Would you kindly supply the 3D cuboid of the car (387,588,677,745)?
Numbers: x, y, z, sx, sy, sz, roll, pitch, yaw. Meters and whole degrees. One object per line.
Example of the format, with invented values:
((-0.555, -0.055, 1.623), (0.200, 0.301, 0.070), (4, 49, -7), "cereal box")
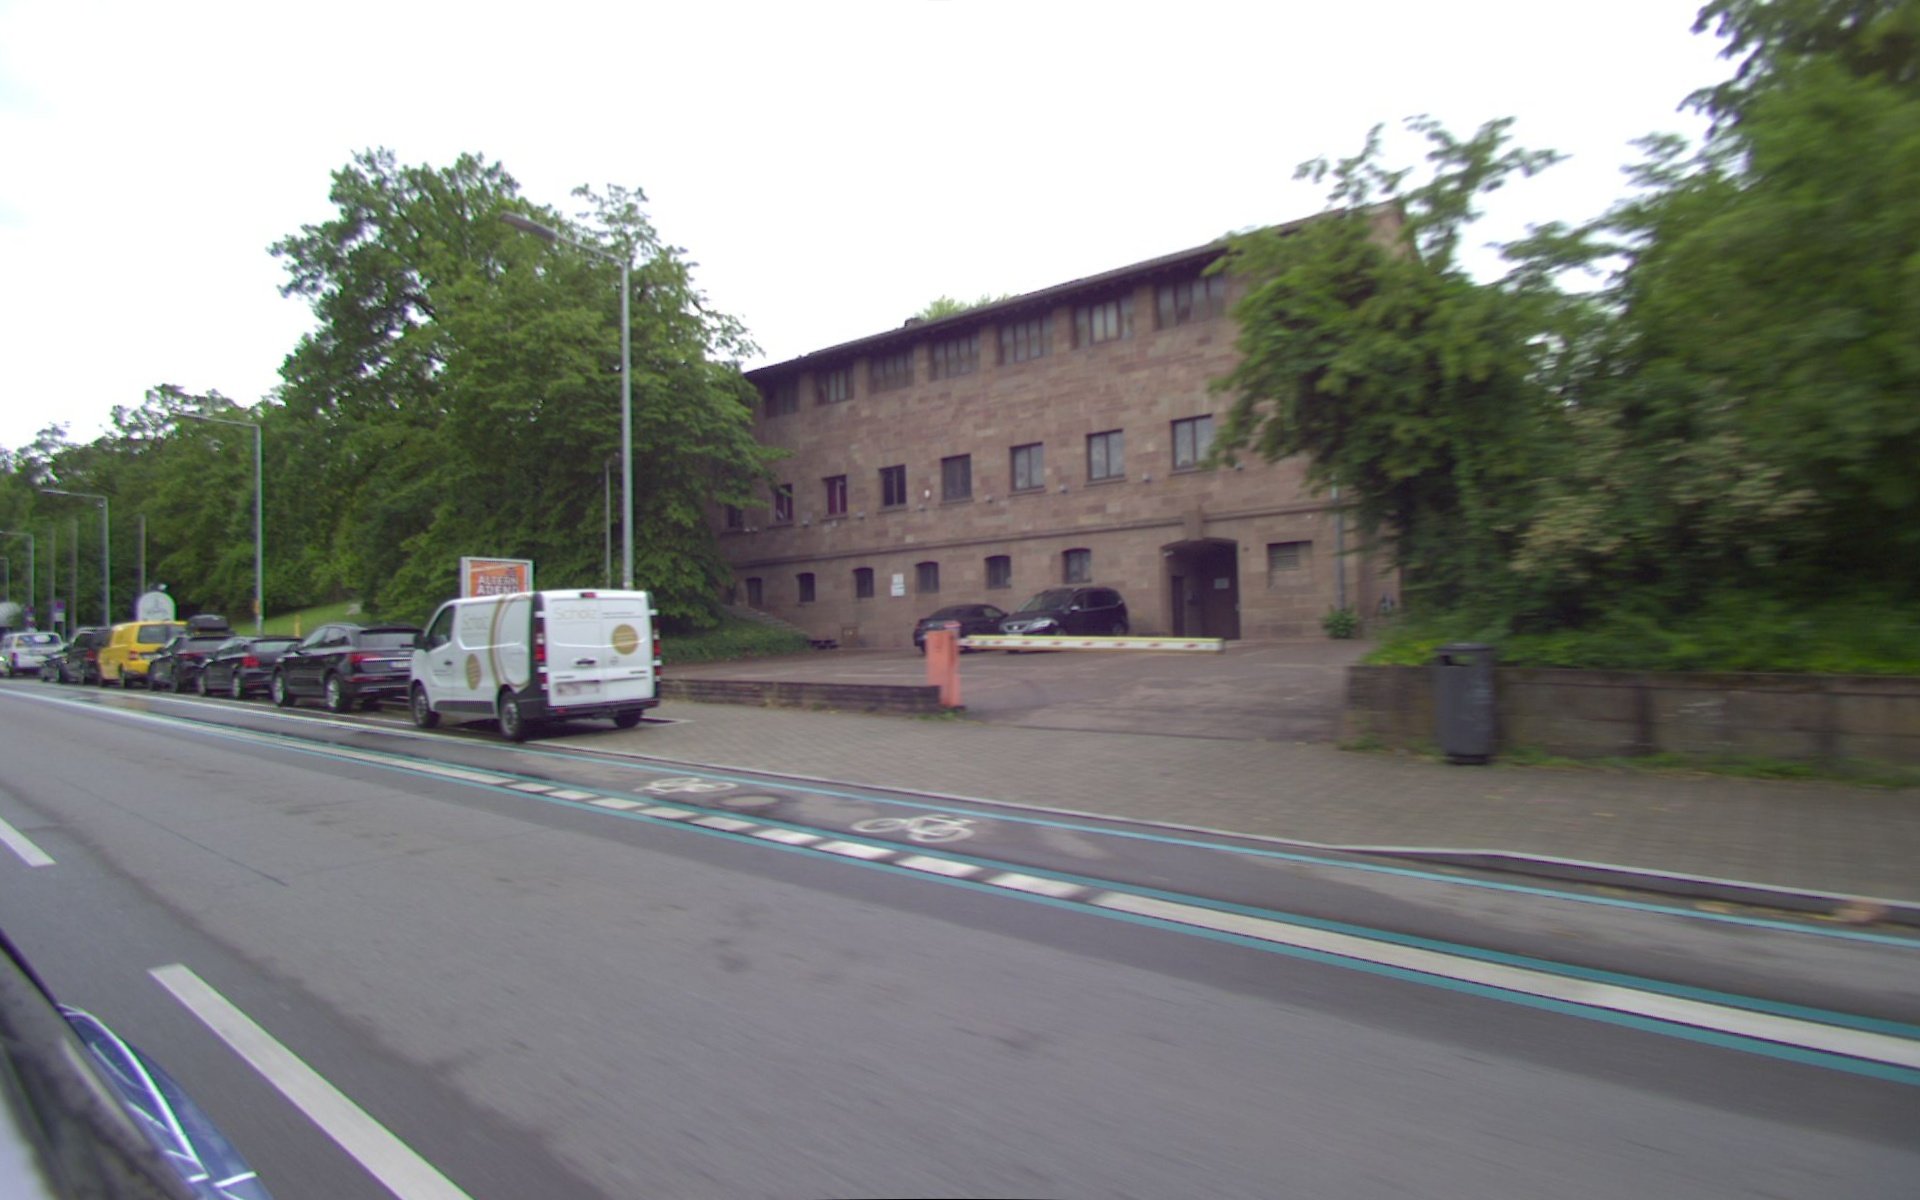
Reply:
((-6.472, 0.933, 14.943), (5.226, 1.929, 1.957), (-3, -3, 42), "car")

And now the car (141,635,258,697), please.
((-20.523, 1.754, 27.267), (4.148, 1.516, 1.692), (-3, -3, 41), "car")

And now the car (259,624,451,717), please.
((-11.999, 1.353, 19.952), (4.658, 1.628, 1.806), (-3, -3, 40), "car")

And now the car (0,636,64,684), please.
((-41.752, 2.665, 45.174), (4.729, 1.992, 1.854), (-3, -3, 39), "car")

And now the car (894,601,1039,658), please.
((0.272, 0.844, 30.219), (2.259, 1.443, 4.265), (-2, 0, 36), "car")

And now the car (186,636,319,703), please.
((-16.929, 1.638, 24.148), (4.034, 1.457, 1.592), (-3, -3, 40), "car")

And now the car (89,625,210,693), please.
((-24.801, 1.784, 30.920), (4.840, 1.928, 1.973), (-3, -3, 40), "car")

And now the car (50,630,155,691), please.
((-29.583, 2.076, 34.871), (5.199, 1.935, 1.858), (-3, -4, 40), "car")

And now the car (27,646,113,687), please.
((-33.987, 2.519, 38.594), (4.605, 1.470, 1.667), (-3, -4, 39), "car")

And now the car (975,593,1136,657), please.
((2.766, 0.663, 28.353), (2.188, 1.490, 4.724), (-4, -1, 39), "car")

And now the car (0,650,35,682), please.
((-46.338, 3.183, 49.025), (4.592, 1.459, 1.709), (-3, -3, 41), "car")
